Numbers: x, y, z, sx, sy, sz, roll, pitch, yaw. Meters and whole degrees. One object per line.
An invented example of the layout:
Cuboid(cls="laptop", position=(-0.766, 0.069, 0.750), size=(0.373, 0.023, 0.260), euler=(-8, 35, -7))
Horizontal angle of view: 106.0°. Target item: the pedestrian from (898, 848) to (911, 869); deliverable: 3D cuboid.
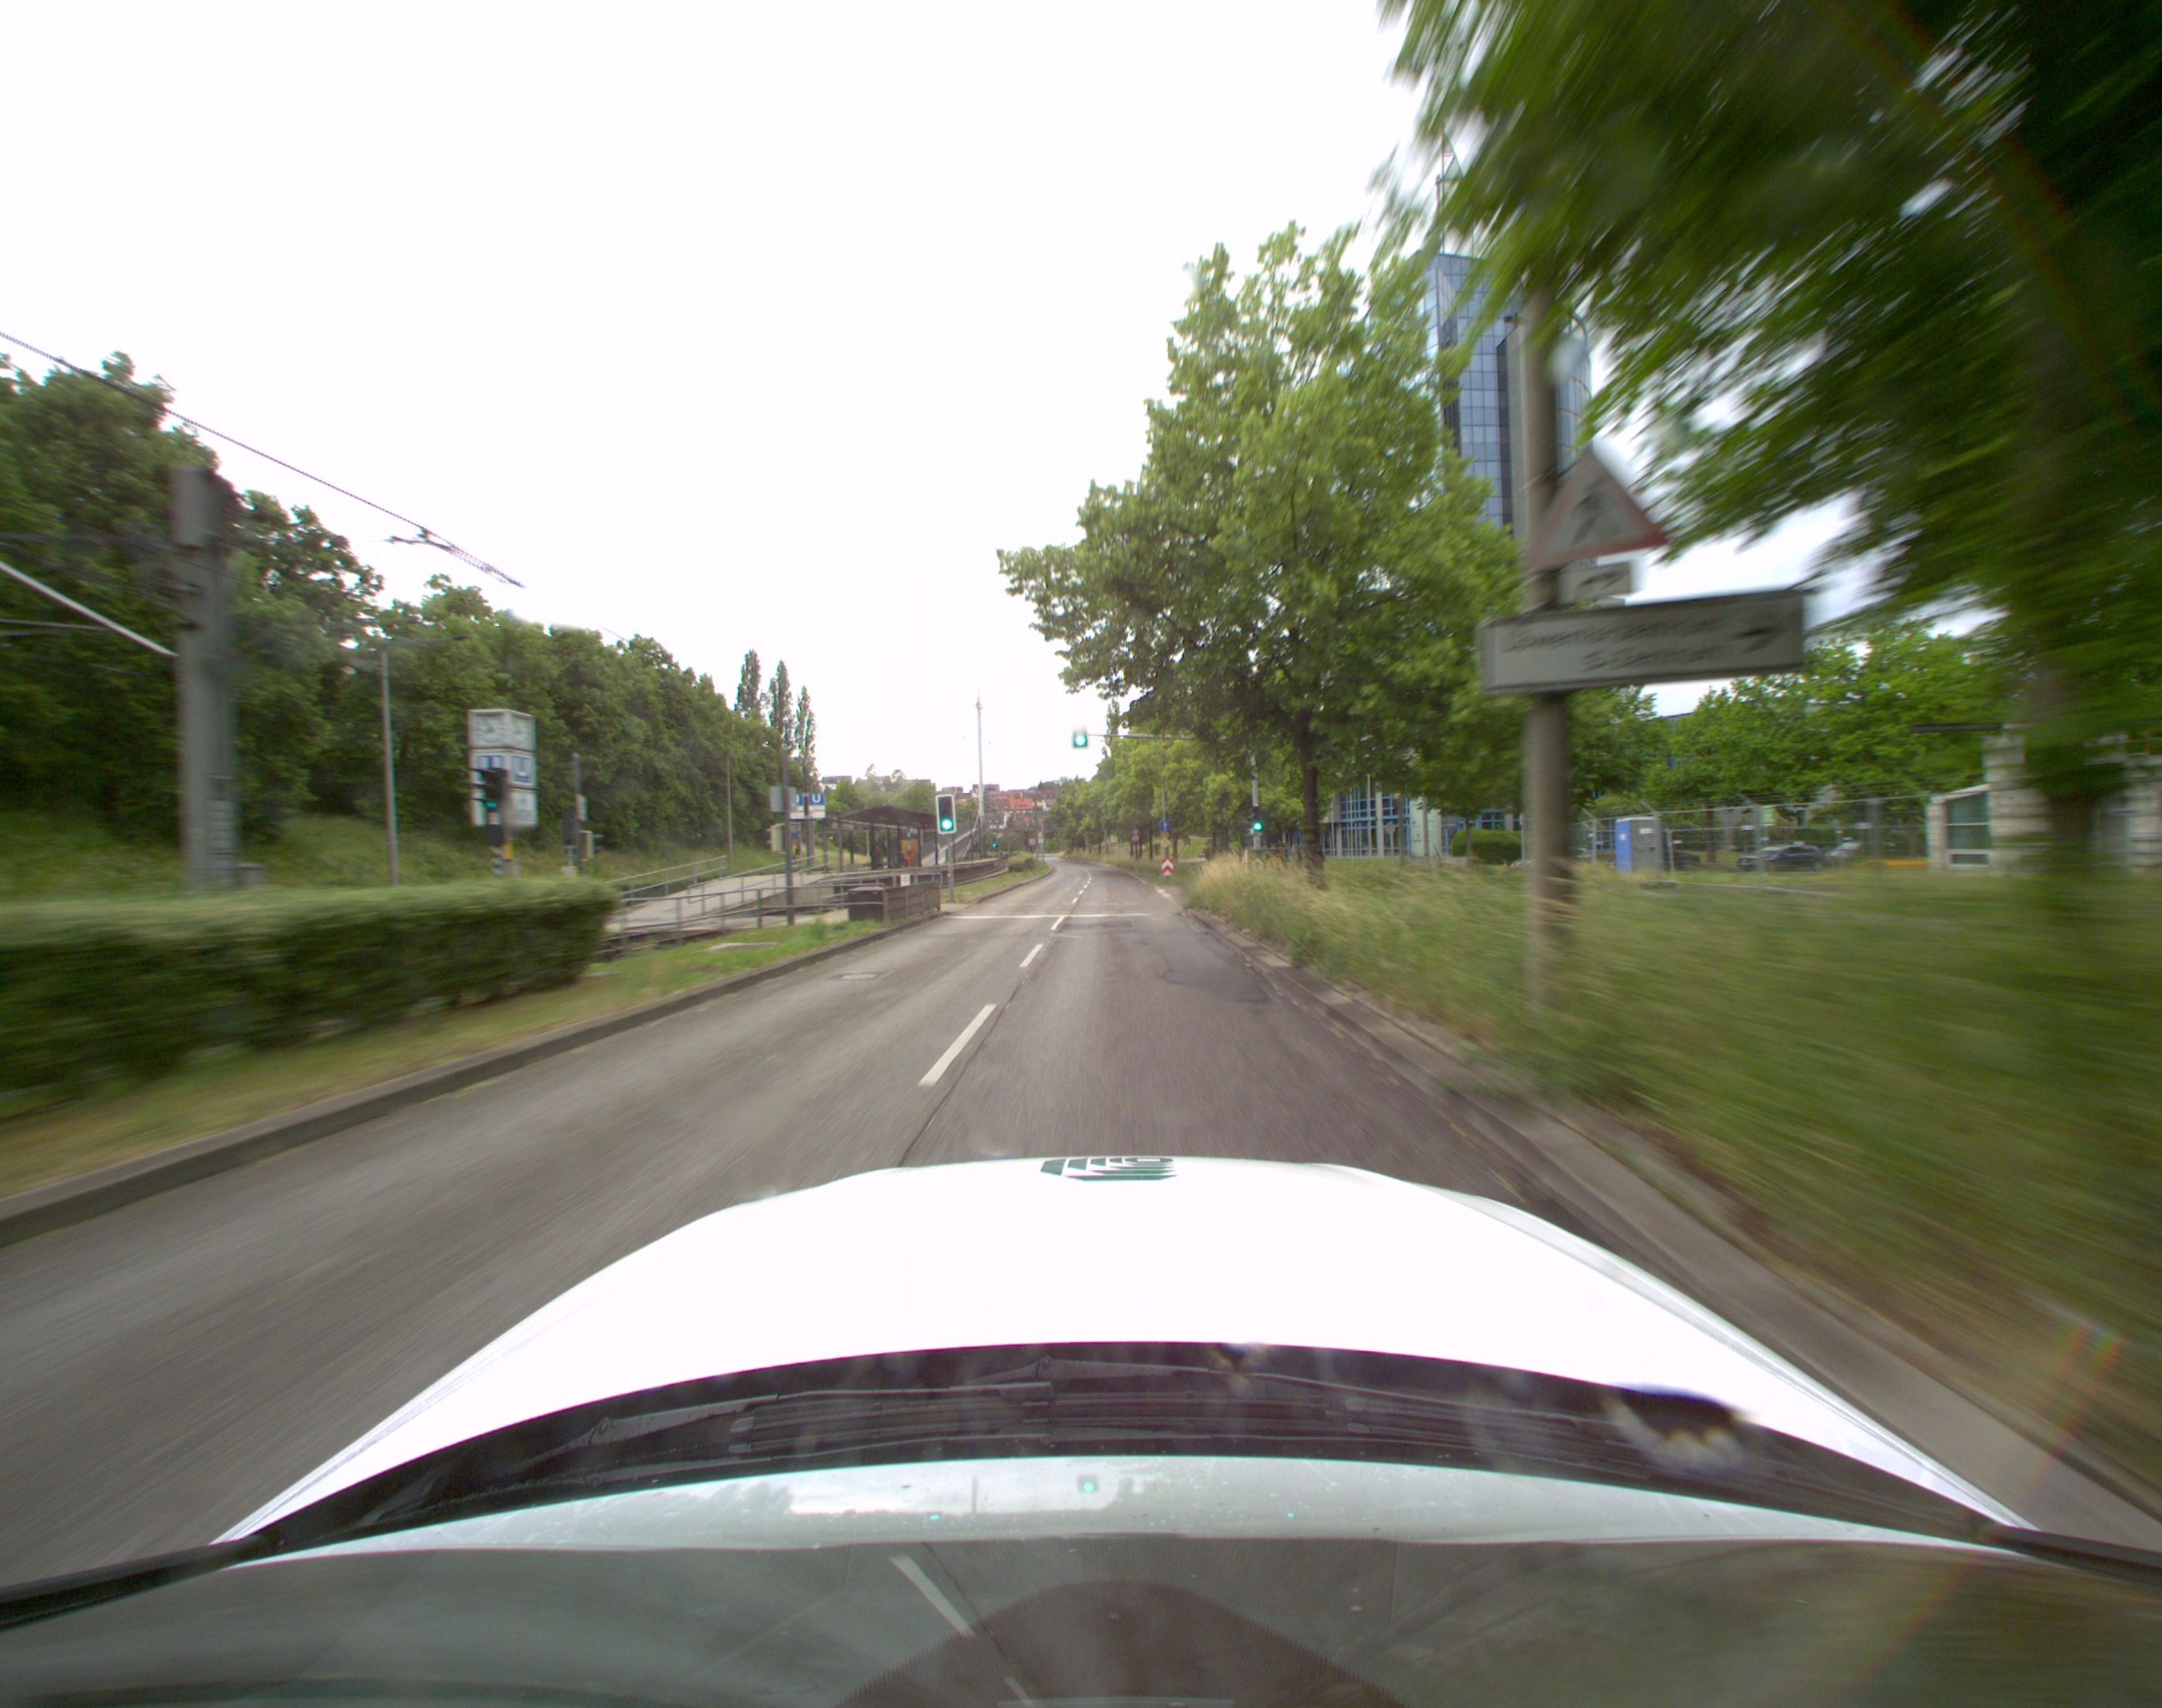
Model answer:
Cuboid(cls="pedestrian", position=(-12.057, 0.297, 55.640), size=(0.751, 1.355, 0.692), euler=(-1, 0, -2))

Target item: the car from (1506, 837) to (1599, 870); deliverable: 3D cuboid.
Cuboid(cls="car", position=(25.779, -0.035, 44.655), size=(4.075, 1.641, 1.761), euler=(-2, 2, 6))

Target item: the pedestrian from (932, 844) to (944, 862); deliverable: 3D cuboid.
Cuboid(cls="pedestrian", position=(-12.933, -0.086, 73.625), size=(0.932, 1.611, 1.026), euler=(-1, 0, -2))

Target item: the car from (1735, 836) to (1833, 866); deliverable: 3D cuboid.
Cuboid(cls="car", position=(38.709, -0.182, 44.864), size=(4.090, 1.433, 1.755), euler=(-2, 2, -5))
